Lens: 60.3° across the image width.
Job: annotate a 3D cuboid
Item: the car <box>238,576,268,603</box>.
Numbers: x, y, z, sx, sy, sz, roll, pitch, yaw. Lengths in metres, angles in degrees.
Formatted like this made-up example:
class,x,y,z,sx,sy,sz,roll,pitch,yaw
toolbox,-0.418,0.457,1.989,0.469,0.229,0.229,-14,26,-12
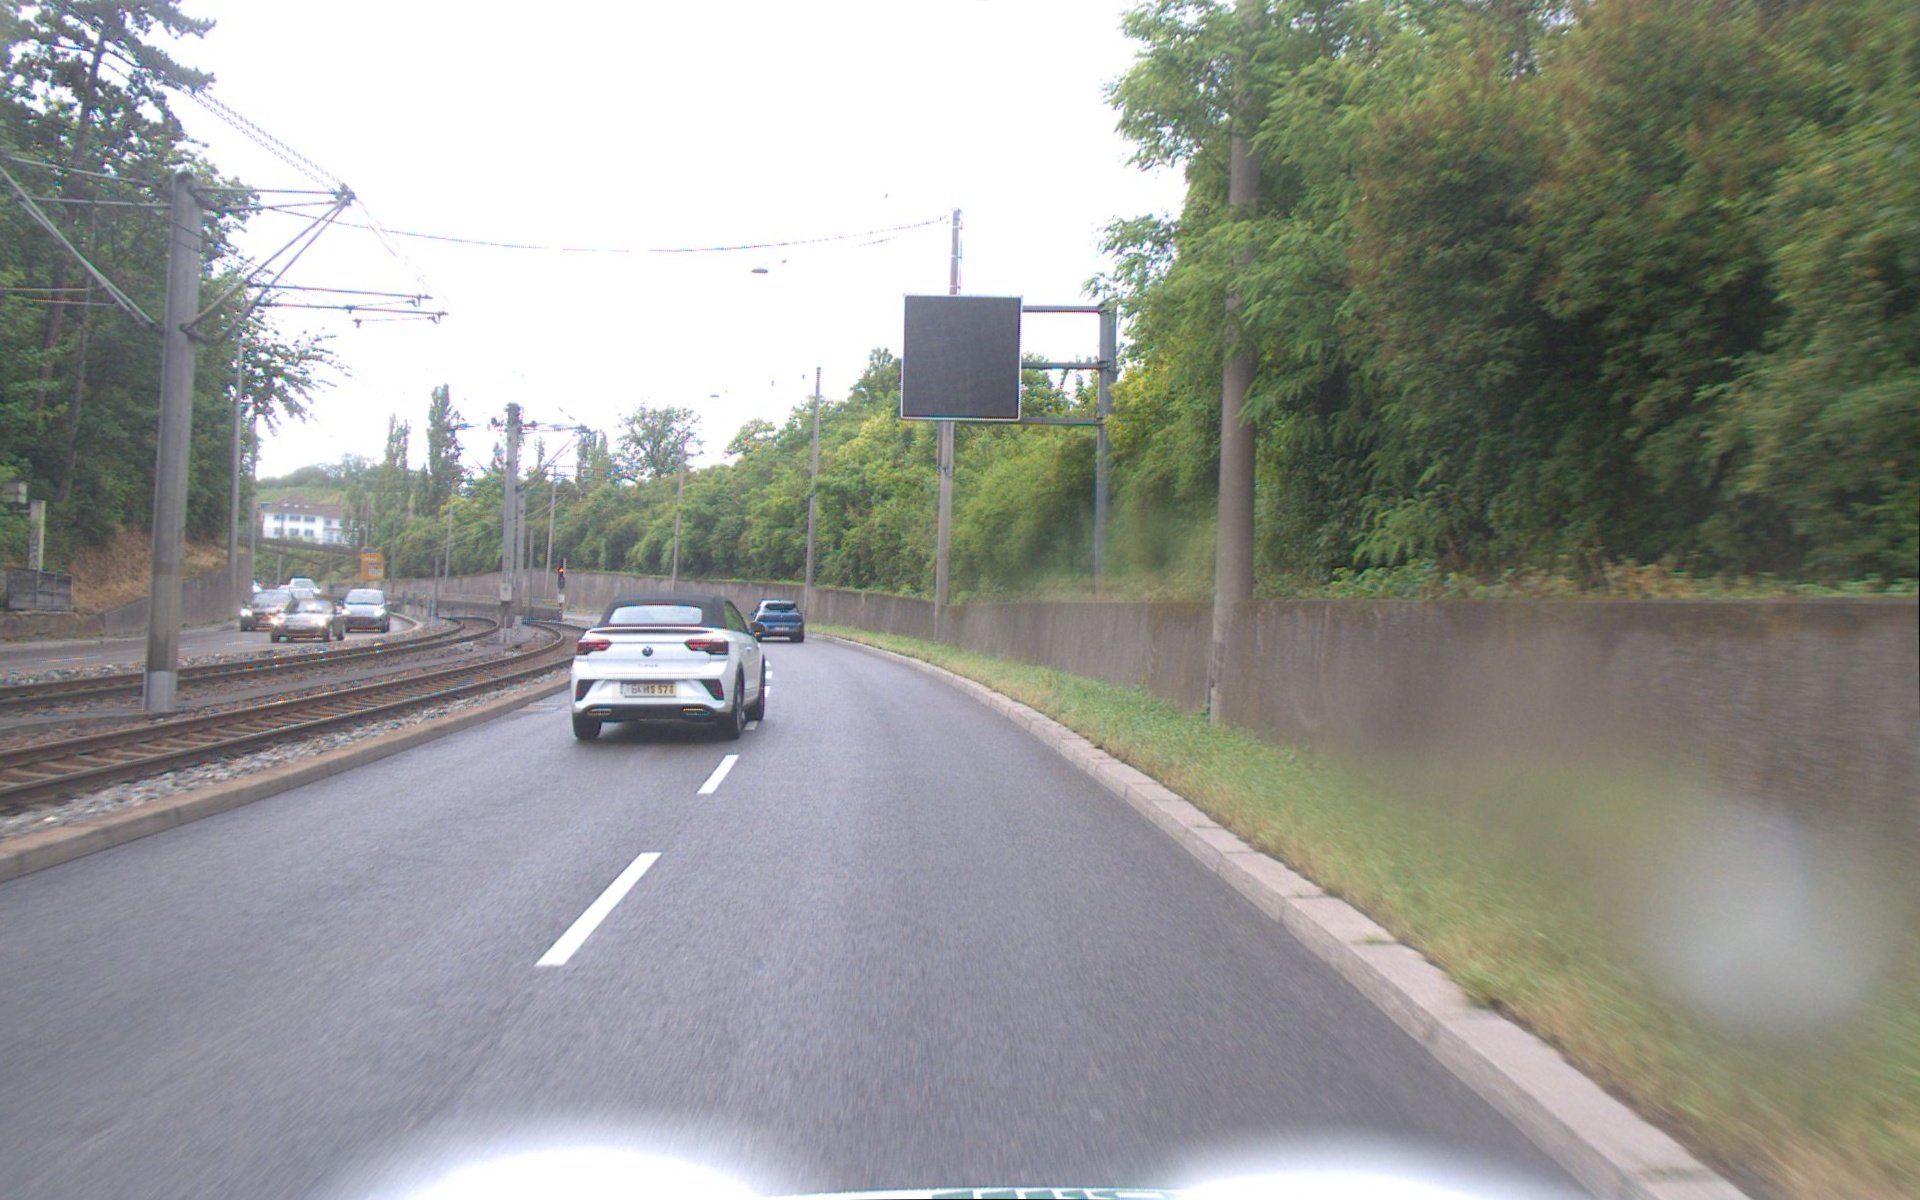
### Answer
class,x,y,z,sx,sy,sz,roll,pitch,yaw
car,-55.601,-0.806,130.106,1.965,2.049,3.975,1,0,-21

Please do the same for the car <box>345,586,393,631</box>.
class,x,y,z,sx,sy,sz,roll,pitch,yaw
car,-21.291,0.303,59.667,1.514,1.517,3.602,-1,0,-18

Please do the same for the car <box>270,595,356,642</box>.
class,x,y,z,sx,sy,sz,roll,pitch,yaw
car,-18.822,0.512,48.261,1.515,1.280,3.950,-1,0,-10

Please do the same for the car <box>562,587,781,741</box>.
class,x,y,z,sx,sy,sz,roll,pitch,yaw
car,-3.149,0.642,18.920,1.833,1.551,4.538,0,0,-2

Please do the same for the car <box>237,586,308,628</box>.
class,x,y,z,sx,sy,sz,roll,pitch,yaw
car,-25.112,0.231,60.541,1.786,1.487,4.641,0,0,-15

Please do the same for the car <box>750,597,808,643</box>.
class,x,y,z,sx,sy,sz,roll,pitch,yaw
car,-6.536,0.693,59.302,1.732,1.527,3.989,1,0,-11
